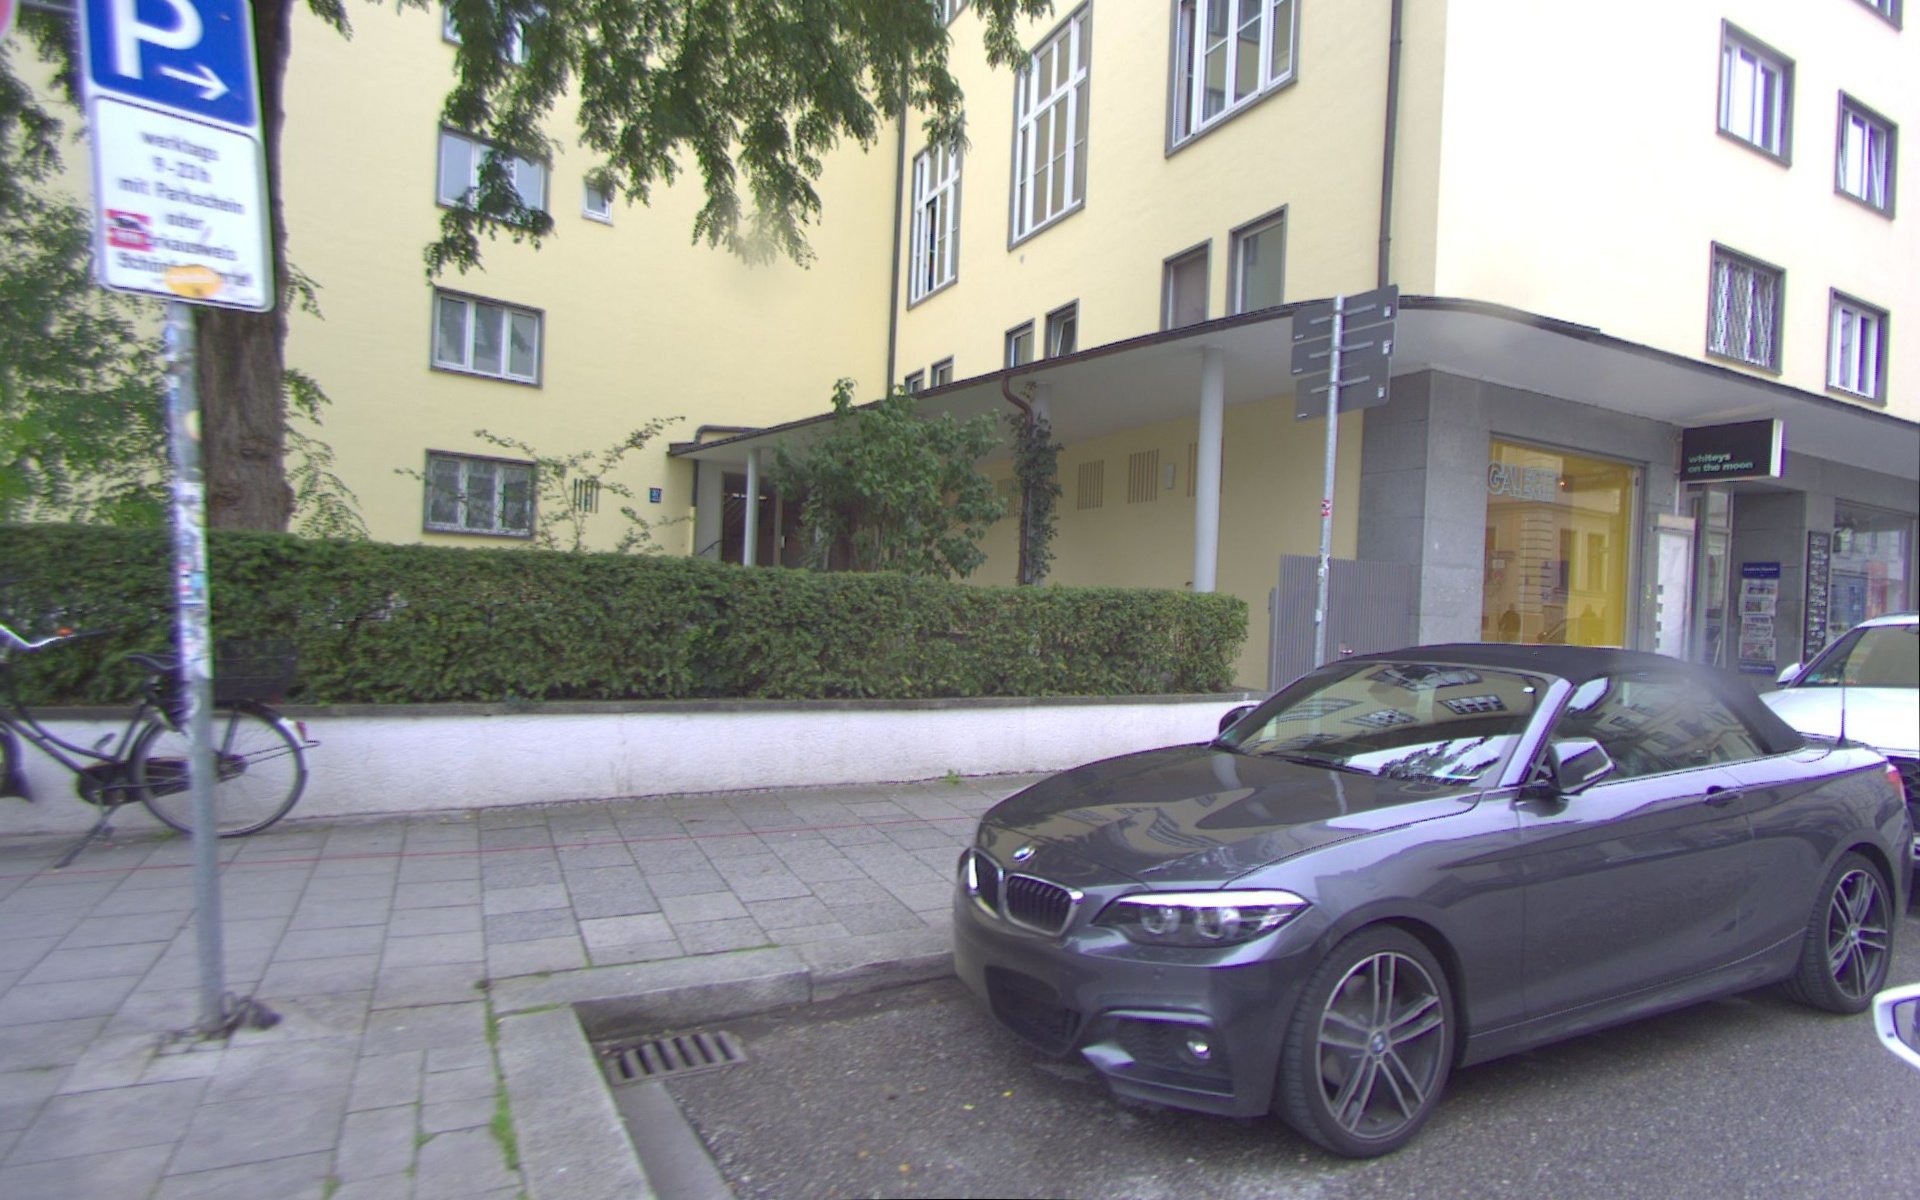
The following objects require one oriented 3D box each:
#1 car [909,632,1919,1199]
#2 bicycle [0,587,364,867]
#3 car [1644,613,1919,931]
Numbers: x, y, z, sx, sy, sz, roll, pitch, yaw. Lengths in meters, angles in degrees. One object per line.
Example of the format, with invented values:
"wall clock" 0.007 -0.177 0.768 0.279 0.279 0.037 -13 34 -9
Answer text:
"car" 1.988 0.873 4.099 4.046 1.429 1.739 1 -1 -27
"bicycle" -4.004 0.579 4.869 1.829 1.226 0.560 2 1 -25
"car" 6.565 0.892 6.446 4.282 1.605 1.796 0 -1 -27
